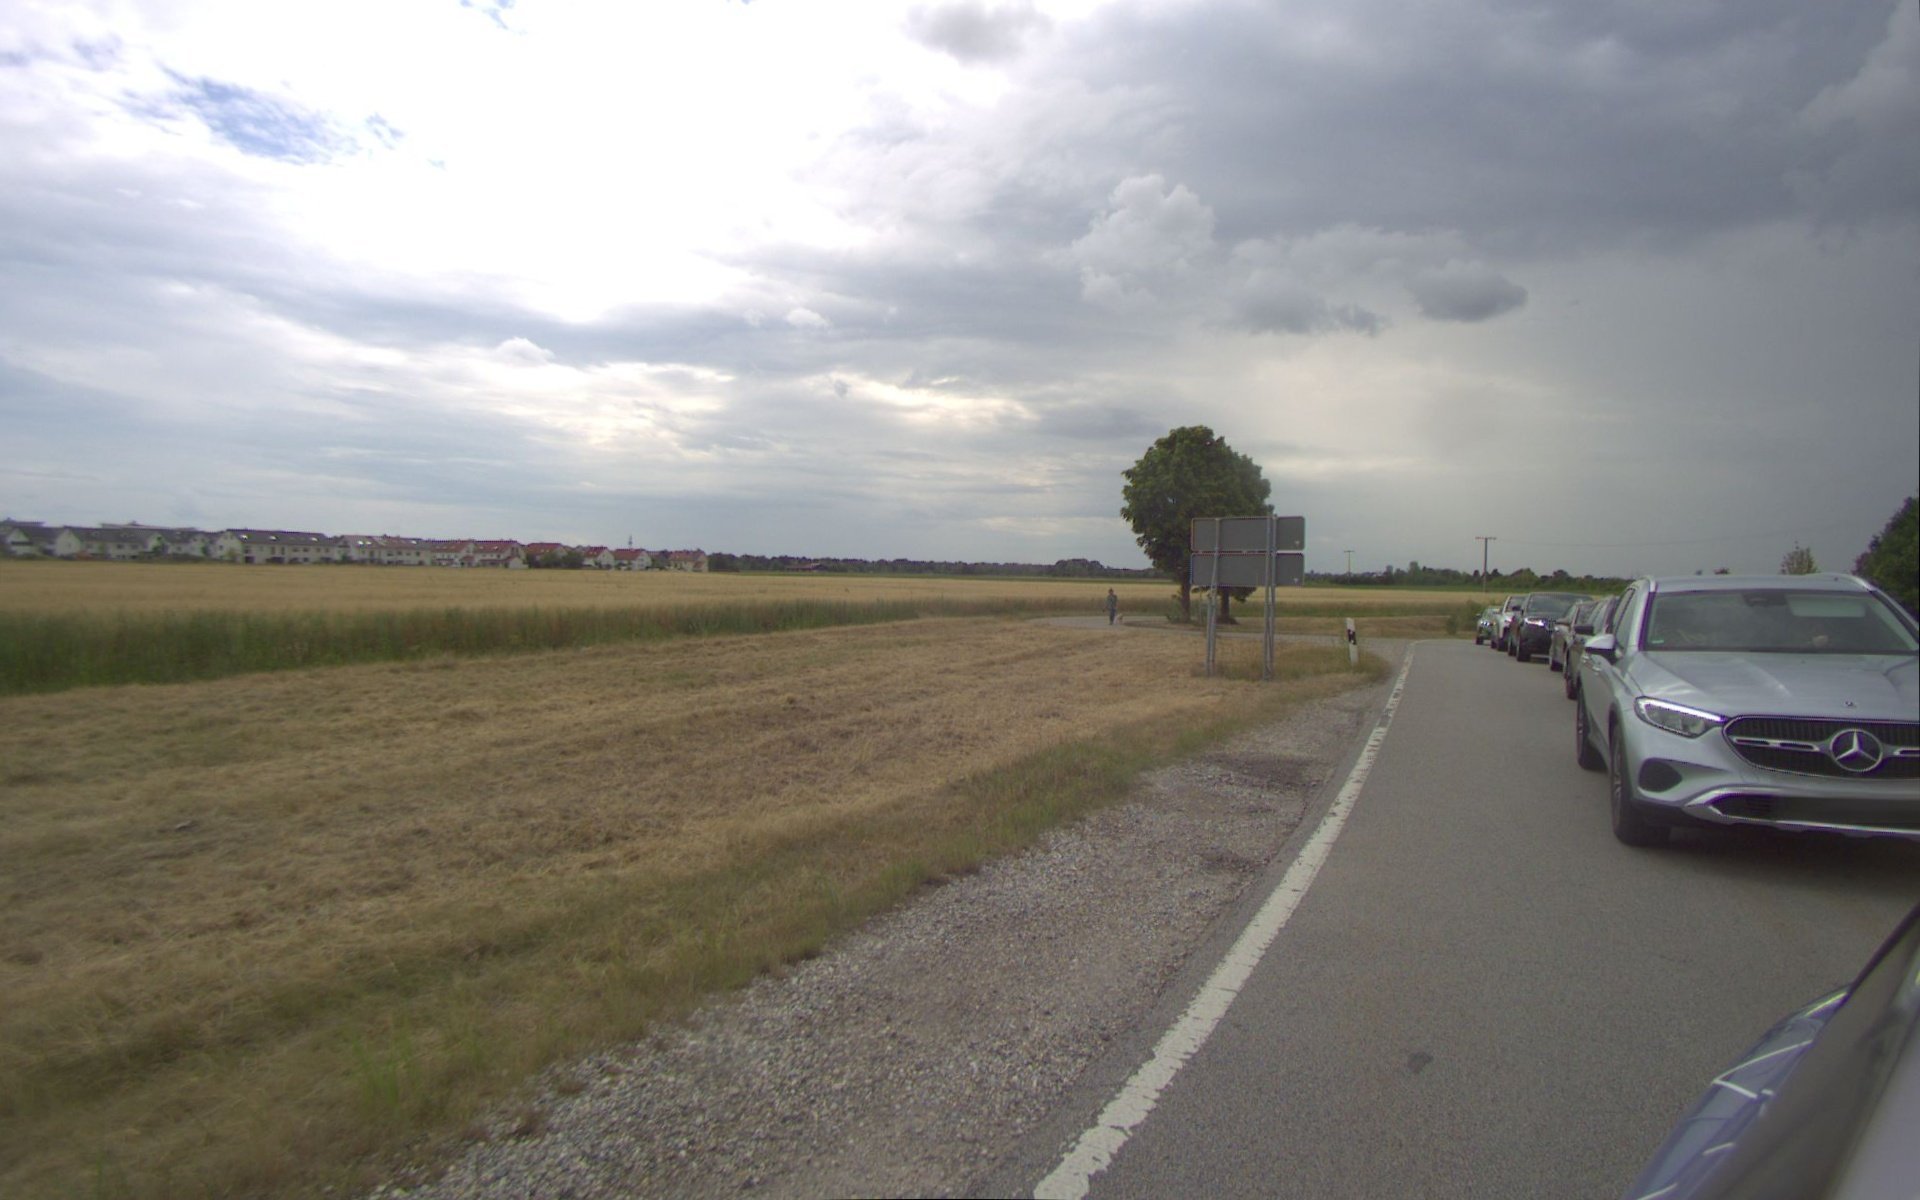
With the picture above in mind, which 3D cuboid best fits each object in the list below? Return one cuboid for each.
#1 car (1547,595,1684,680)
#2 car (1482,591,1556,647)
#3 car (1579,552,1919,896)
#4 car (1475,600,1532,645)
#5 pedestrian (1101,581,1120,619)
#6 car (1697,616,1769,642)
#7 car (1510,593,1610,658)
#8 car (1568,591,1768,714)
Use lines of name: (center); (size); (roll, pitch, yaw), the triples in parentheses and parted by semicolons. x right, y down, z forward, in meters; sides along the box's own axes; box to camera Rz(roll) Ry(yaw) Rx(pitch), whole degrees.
car: (12.650, 0.638, 19.780); (1.705, 1.370, 4.176); (2, 2, 26)
car: (16.872, 0.528, 30.710); (1.705, 1.513, 4.597); (-1, 1, 26)
car: (5.405, 0.543, 6.708); (1.979, 1.606, 4.350); (-1, 1, 29)
car: (20.525, 0.812, 38.371); (1.705, 1.513, 4.176); (-1, 1, 26)
pedestrian: (6.712, -0.014, 45.169); (0.761, 1.631, 0.943); (1, 1, 8)
car: (49.870, 1.880, 65.294); (3.916, 1.552, 1.827); (1, 1, -21)
car: (14.348, 0.562, 24.390); (1.705, 1.370, 4.176); (-1, 1, 26)
car: (9.605, 0.589, 14.080); (1.706, 1.370, 4.649); (-1, 1, 28)
